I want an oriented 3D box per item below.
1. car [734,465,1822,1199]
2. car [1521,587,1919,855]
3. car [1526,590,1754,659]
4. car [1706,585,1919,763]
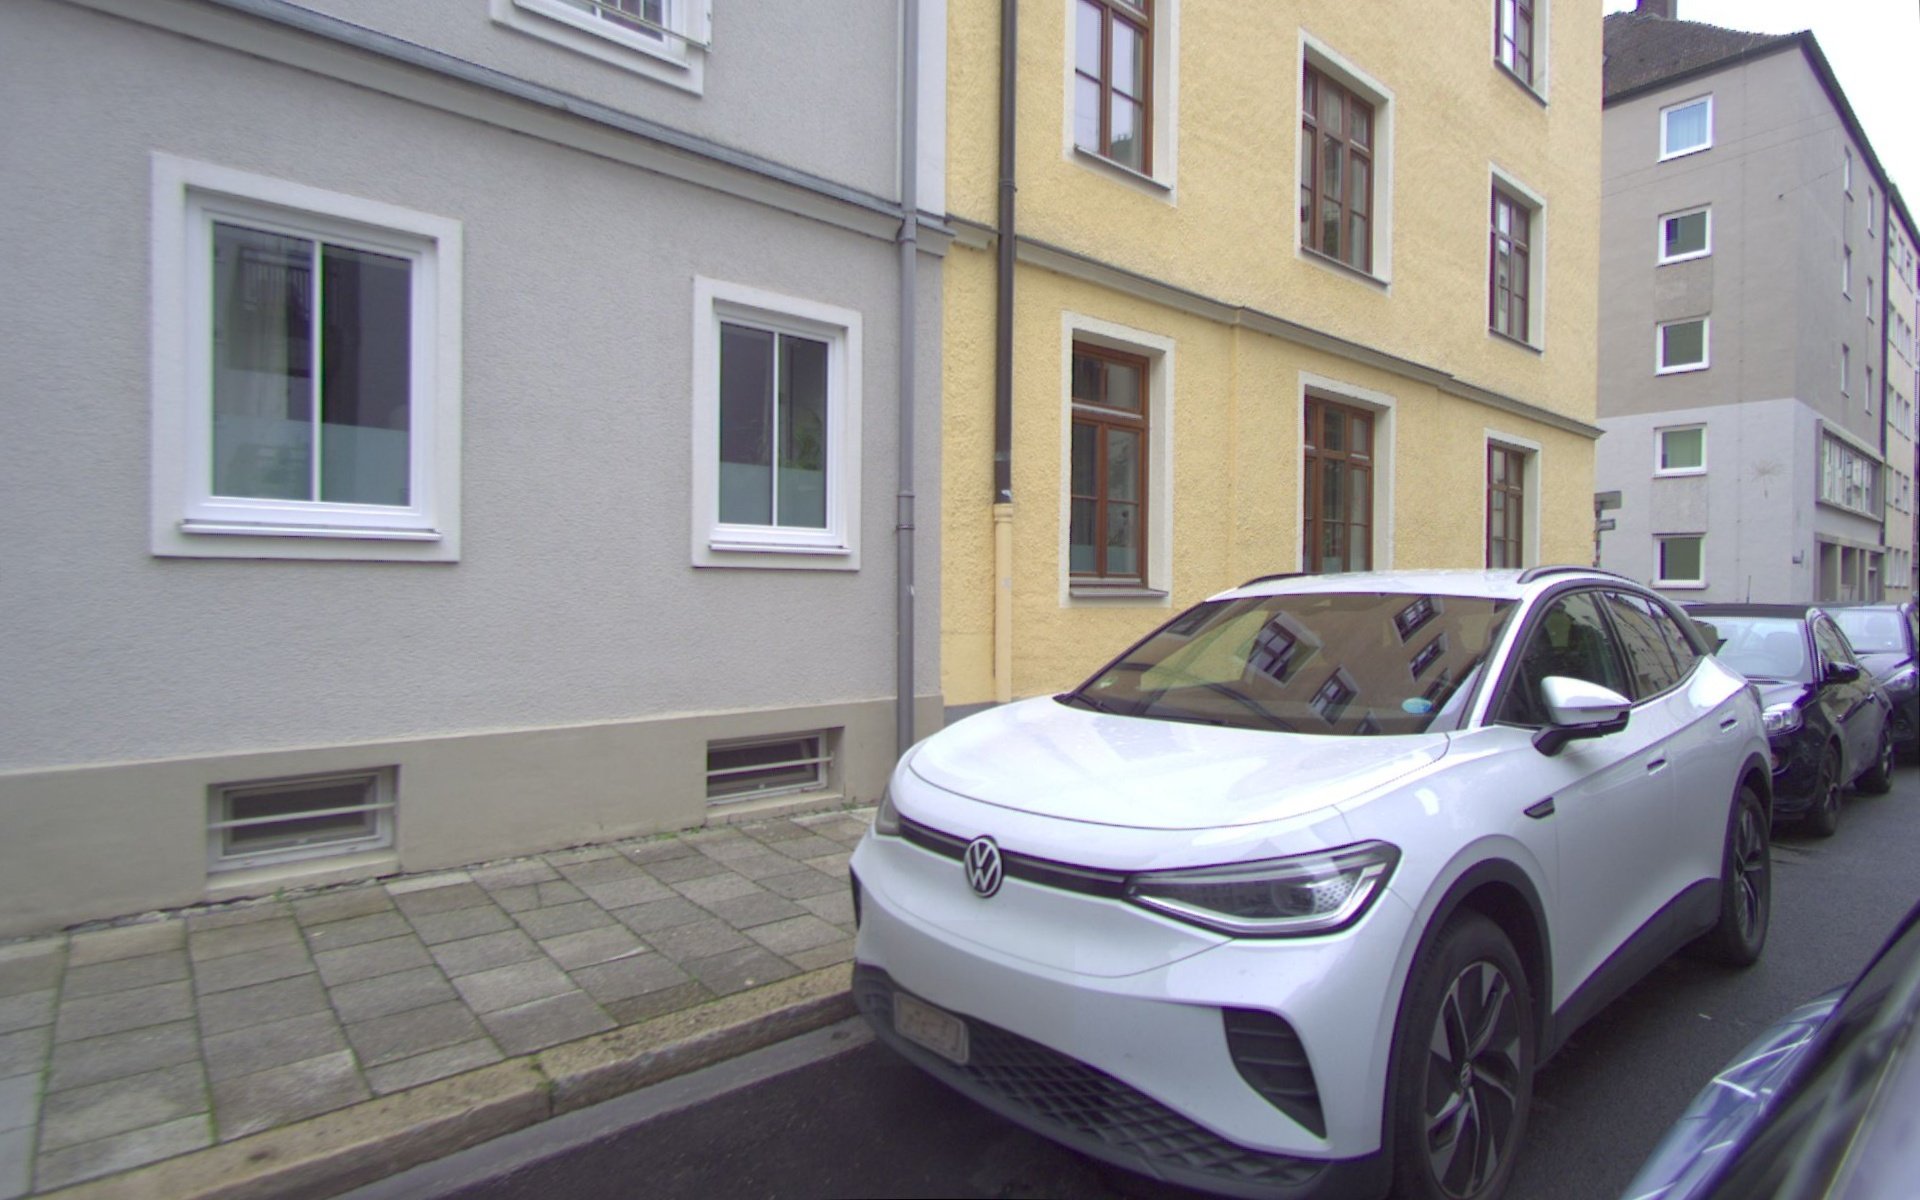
[{"bbox_3d":[1.605,0.586,3.904,4.462,1.695,1.965,-1,1,-41],"label":"car"},{"bbox_3d":[5.911,0.671,7.686,3.789,1.523,1.690,-1,1,-41],"label":"car"},{"bbox_3d":[15.826,0.503,23.683,1.941,1.398,4.151,-1,1,-45],"label":"car"},{"bbox_3d":[9.295,0.621,10.523,3.789,1.523,1.690,-1,1,-41],"label":"car"}]
